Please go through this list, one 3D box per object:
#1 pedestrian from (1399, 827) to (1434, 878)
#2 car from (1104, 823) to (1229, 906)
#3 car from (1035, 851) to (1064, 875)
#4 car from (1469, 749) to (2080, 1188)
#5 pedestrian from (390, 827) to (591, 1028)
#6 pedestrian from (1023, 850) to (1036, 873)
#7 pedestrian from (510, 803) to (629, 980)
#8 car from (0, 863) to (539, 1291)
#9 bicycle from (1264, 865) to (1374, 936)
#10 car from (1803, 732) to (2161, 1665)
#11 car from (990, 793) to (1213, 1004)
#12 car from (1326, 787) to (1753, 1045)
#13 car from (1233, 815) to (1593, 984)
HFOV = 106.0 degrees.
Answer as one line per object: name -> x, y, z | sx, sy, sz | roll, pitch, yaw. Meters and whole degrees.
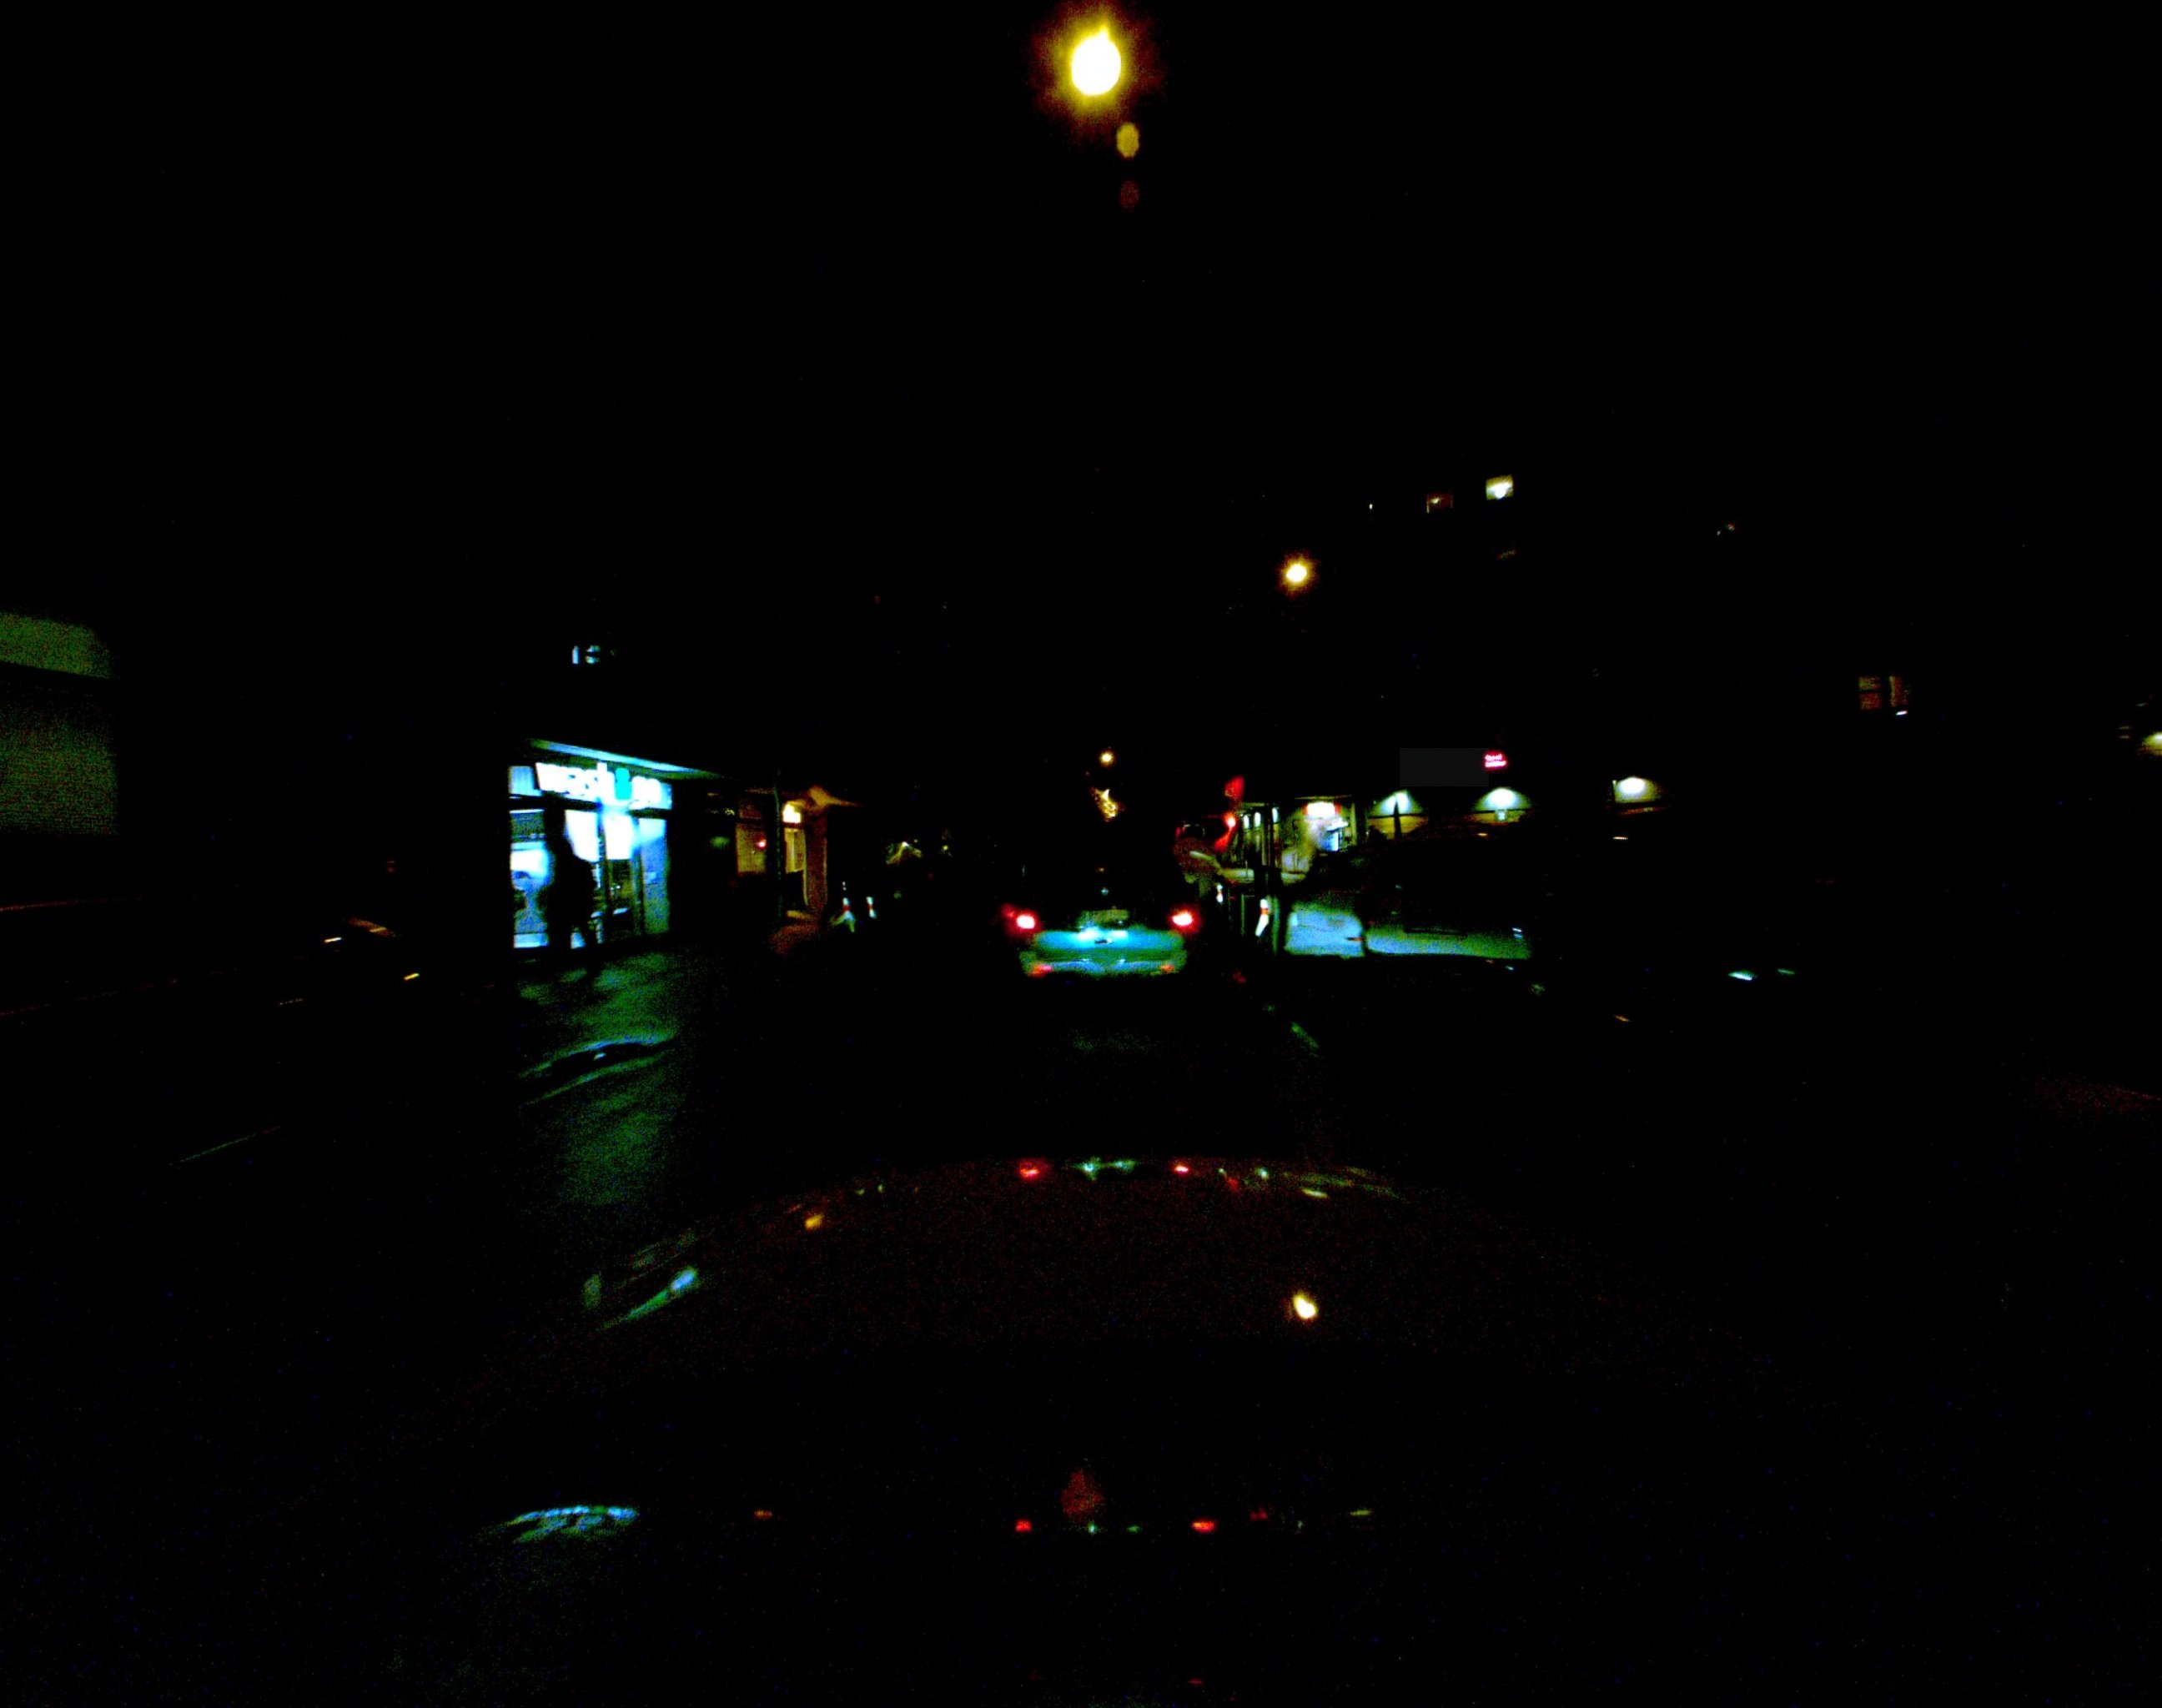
pedestrian -> 12.378, -0.055, 30.044 | 0.867, 1.833, 0.990 | -3, -1, 38
car -> 2.409, 0.240, 21.593 | 2.105, 1.922, 4.851 | -1, 0, 20
car -> -2.028, 0.571, 53.817 | 1.580, 1.463, 4.026 | 1, 0, 2
car -> 4.317, 0.356, 4.935 | 3.808, 1.712, 1.730 | -4, 0, -33
pedestrian -> -6.022, 0.697, 8.421 | 0.952, 1.863, 1.415 | -2, 0, 1
pedestrian -> -4.018, 0.584, 63.223 | 0.799, 1.766, 1.018 | -1, -1, 8
pedestrian -> -6.890, 0.485, 11.030 | 0.796, 2.241, 1.116 | -2, 0, 1
car -> -4.742, 0.832, 3.063 | 1.839, 1.478, 5.034 | -2, 0, 2
bicycle -> 3.664, 0.705, 12.642 | 0.338, 1.026, 1.626 | -4, 1, -44
car -> 3.840, 0.446, 1.852 | 4.081, 1.597, 1.818 | -4, 0, -26
car -> 0.297, 0.435, 10.254 | 2.114, 1.991, 4.603 | -2, 0, 2
car -> 4.232, 0.377, 7.389 | 3.755, 1.712, 1.753 | -4, 0, -33
car -> 4.215, 0.452, 10.246 | 4.273, 1.573, 1.756 | -4, 0, -27
